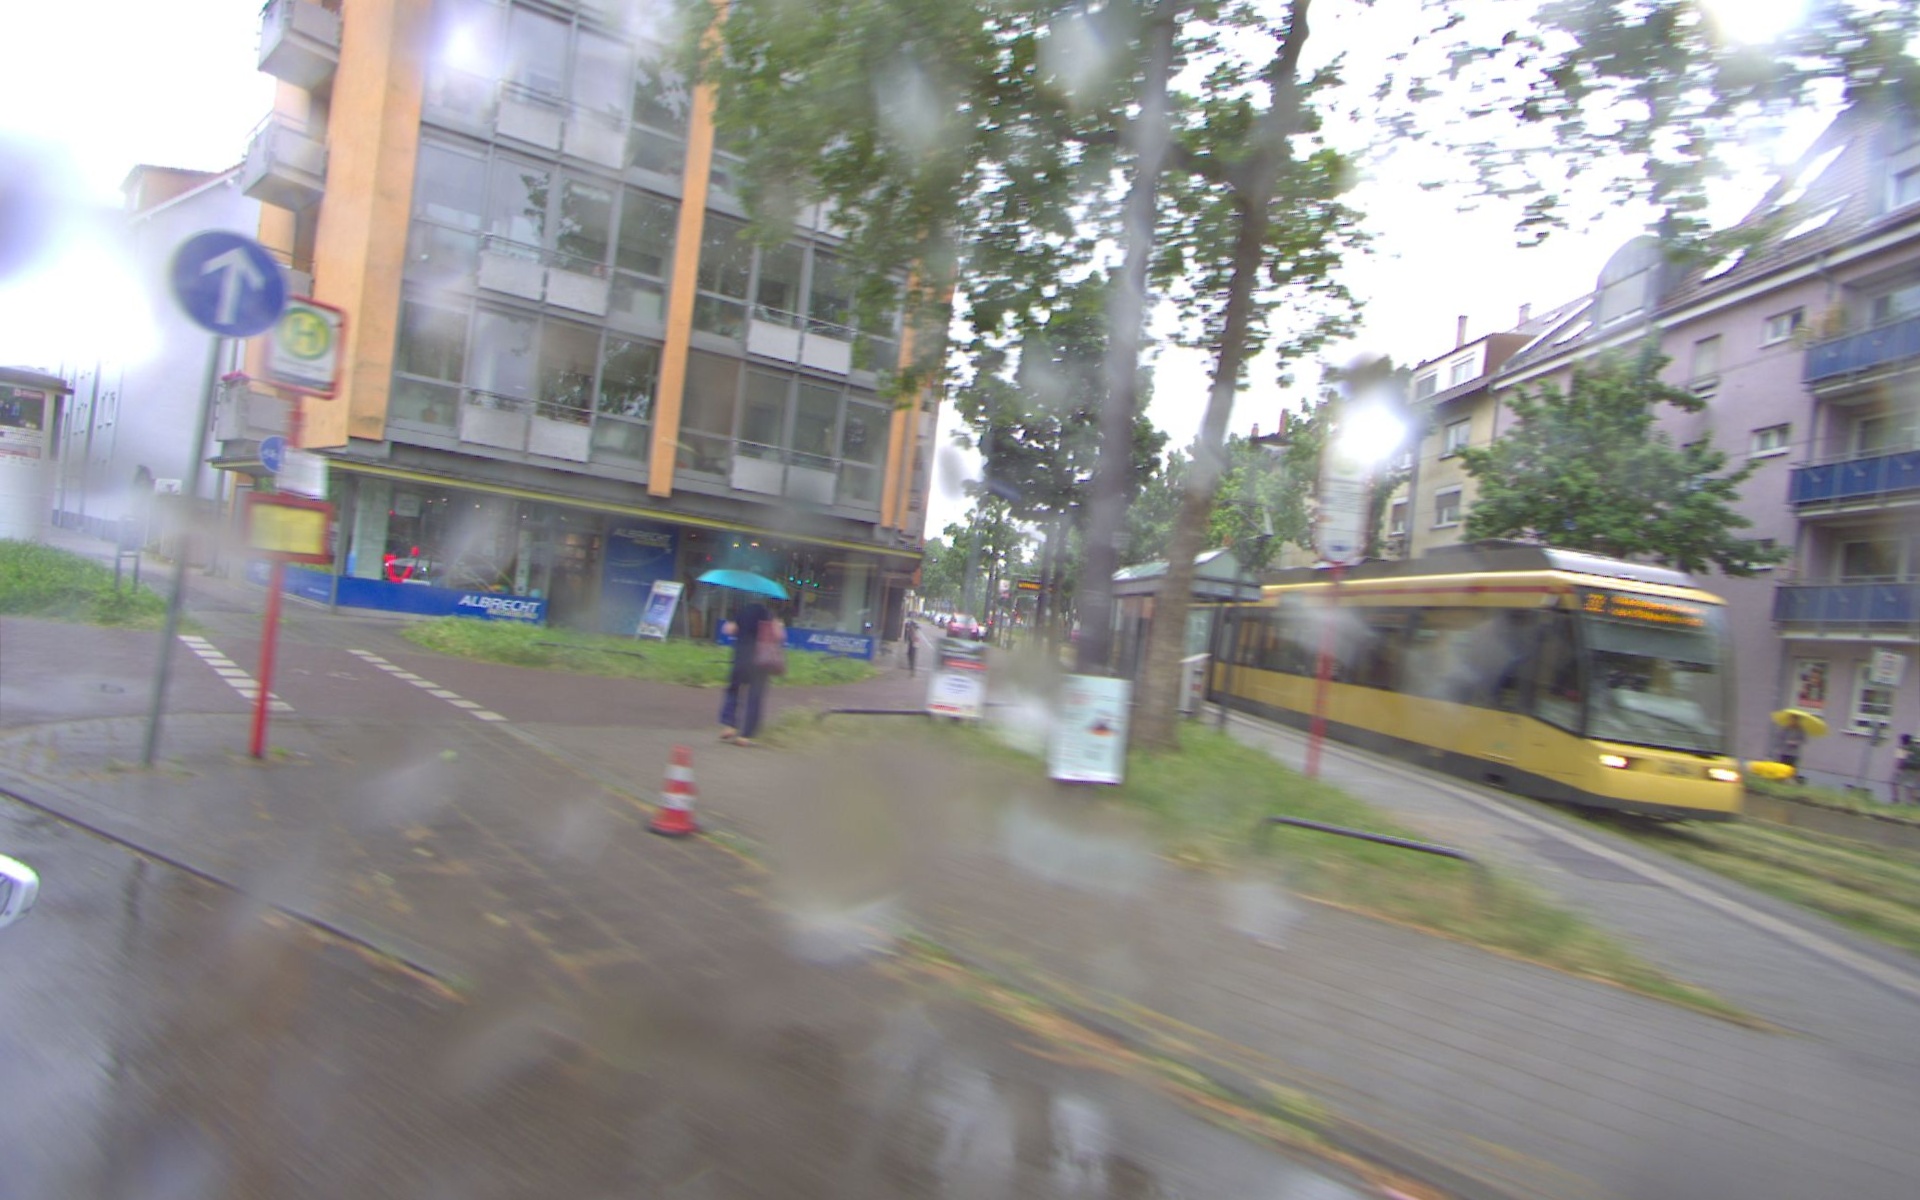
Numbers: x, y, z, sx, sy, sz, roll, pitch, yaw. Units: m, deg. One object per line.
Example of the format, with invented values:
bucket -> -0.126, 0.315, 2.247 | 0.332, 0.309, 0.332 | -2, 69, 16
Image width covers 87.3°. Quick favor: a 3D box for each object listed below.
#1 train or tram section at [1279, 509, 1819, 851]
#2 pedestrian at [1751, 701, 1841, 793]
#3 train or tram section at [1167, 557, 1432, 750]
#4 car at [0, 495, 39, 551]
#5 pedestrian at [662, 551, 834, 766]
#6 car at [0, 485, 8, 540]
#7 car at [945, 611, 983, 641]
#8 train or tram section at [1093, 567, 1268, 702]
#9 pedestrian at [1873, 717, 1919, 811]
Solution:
train or tram section -> 7.750, 0.955, 15.136 | 2.598, 3.409, 8.376 | 7, -1, -2
pedestrian -> 17.658, 3.086, 21.278 | 0.939, 1.718, 0.920 | 7, 0, -5
train or tram section -> 7.377, 1.100, 23.488 | 2.598, 3.391, 8.375 | 7, -1, -3
car -> -29.380, -2.470, 28.588 | 1.957, 1.488, 4.524 | 6, -1, 43
pedestrian -> -2.087, 0.569, 10.162 | 1.152, 1.888, 1.386 | 7, 0, 4
car -> -34.112, -3.180, 32.783 | 1.917, 1.827, 4.228 | 6, 0, 40
car -> 0.177, 1.447, 56.772 | 1.771, 1.415, 3.998 | 7, -1, -3
train or tram section -> 6.732, 1.034, 32.649 | 2.598, 3.391, 9.985 | 7, -1, -3
pedestrian -> 18.852, 3.255, 19.872 | 0.809, 1.718, 0.683 | 7, 1, -8
